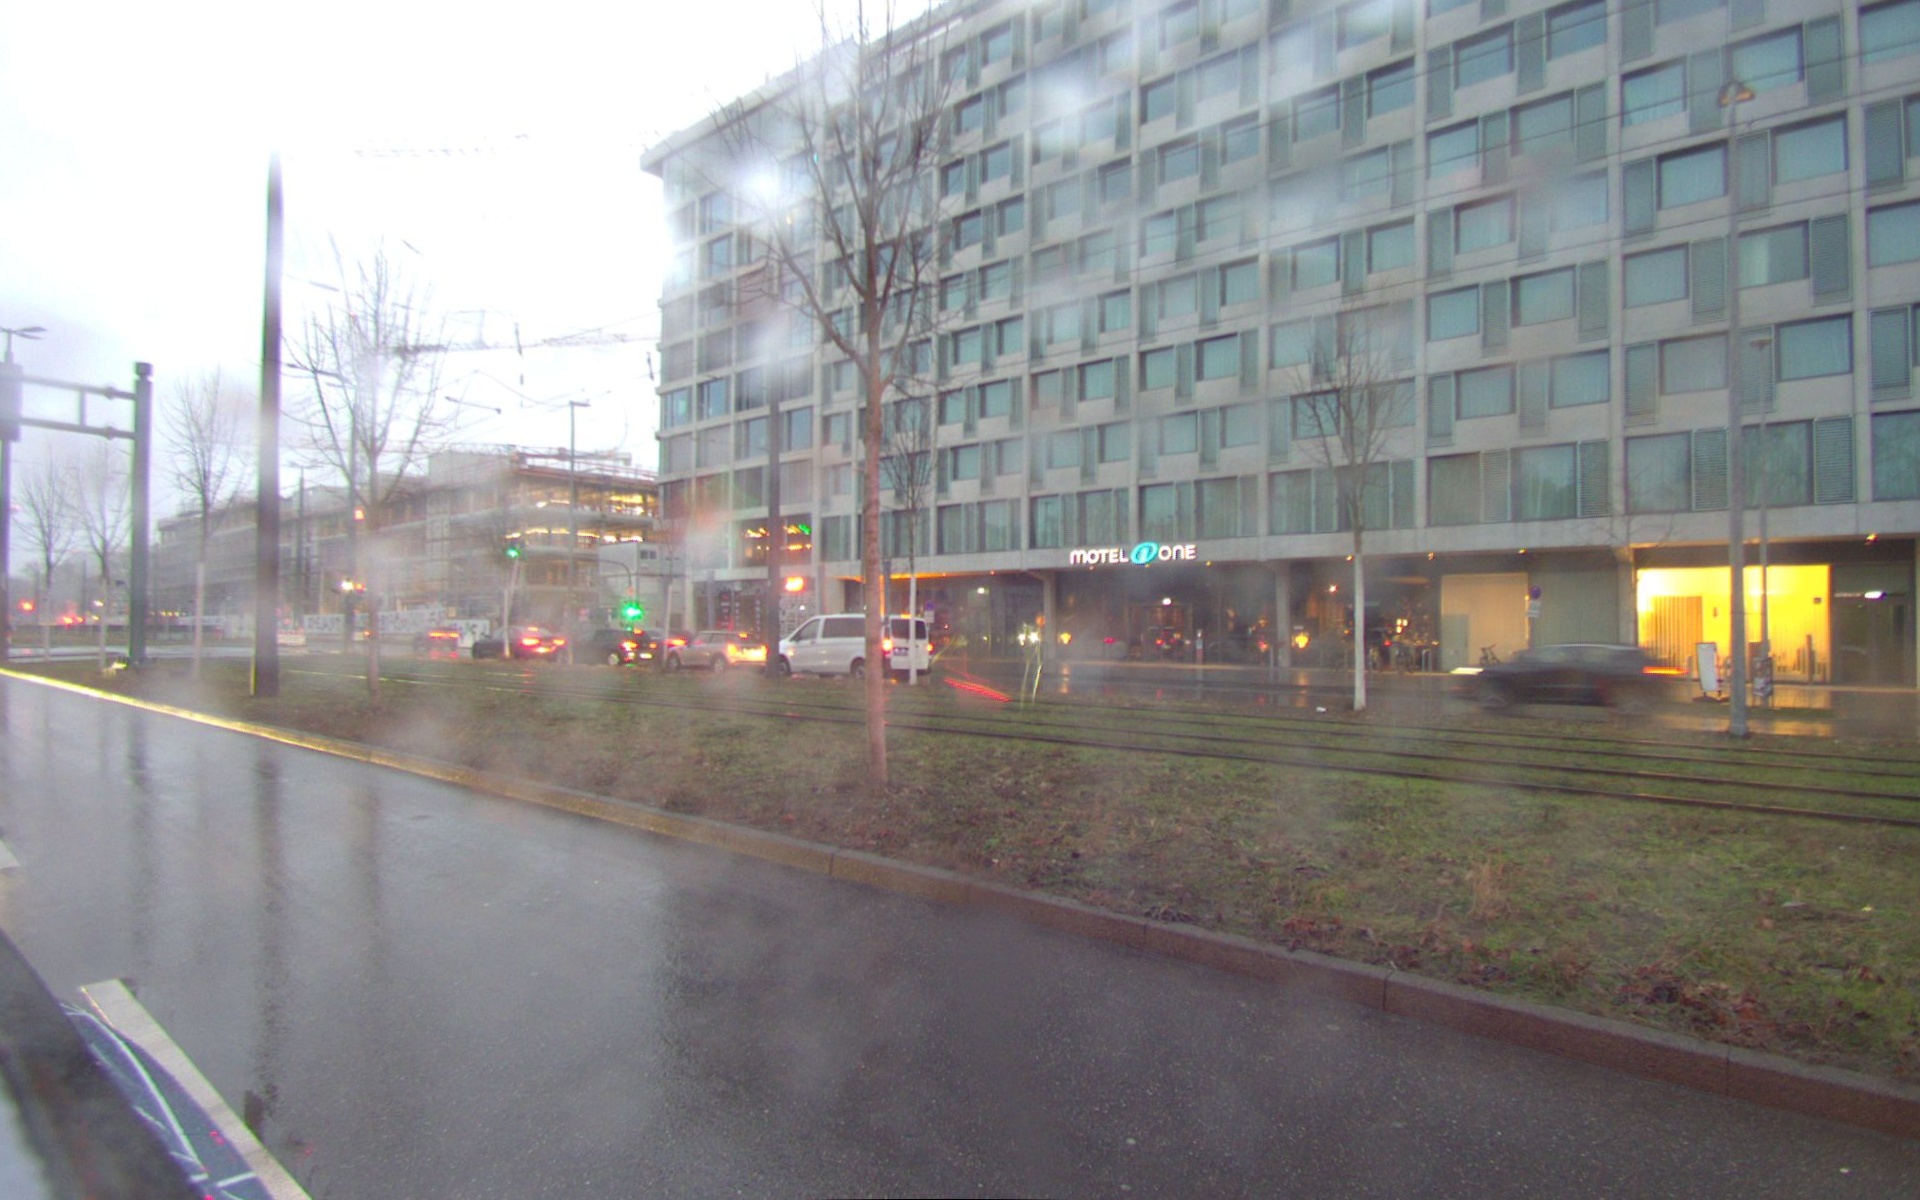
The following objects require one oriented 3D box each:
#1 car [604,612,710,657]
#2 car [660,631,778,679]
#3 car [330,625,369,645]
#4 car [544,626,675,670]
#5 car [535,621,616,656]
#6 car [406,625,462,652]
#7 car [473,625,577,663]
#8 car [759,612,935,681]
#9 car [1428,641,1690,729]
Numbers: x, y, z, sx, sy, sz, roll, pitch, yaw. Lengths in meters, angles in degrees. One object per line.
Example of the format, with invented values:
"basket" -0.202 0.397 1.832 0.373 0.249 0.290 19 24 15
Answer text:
"car" -12.546 1.407 41.753 4.914 1.732 1.876 -1 -2 41
"car" -7.744 1.703 32.405 3.704 1.442 1.876 -1 -3 41
"car" -53.272 3.038 88.252 1.874 1.732 4.920 2 -2 -44
"car" -12.773 1.721 36.877 4.425 1.508 1.983 -1 -2 26
"car" -19.897 1.955 52.274 4.915 1.732 1.876 -2 -2 42
"car" -34.911 2.524 67.112 1.874 1.732 4.919 2 -2 -45
"car" -17.828 1.773 41.341 5.032 1.479 1.972 -2 -3 42
"car" -3.196 1.239 27.888 5.115 1.732 1.876 -1 -3 41
"car" 12.763 1.730 21.737 4.578 1.646 1.876 -1 -2 41
